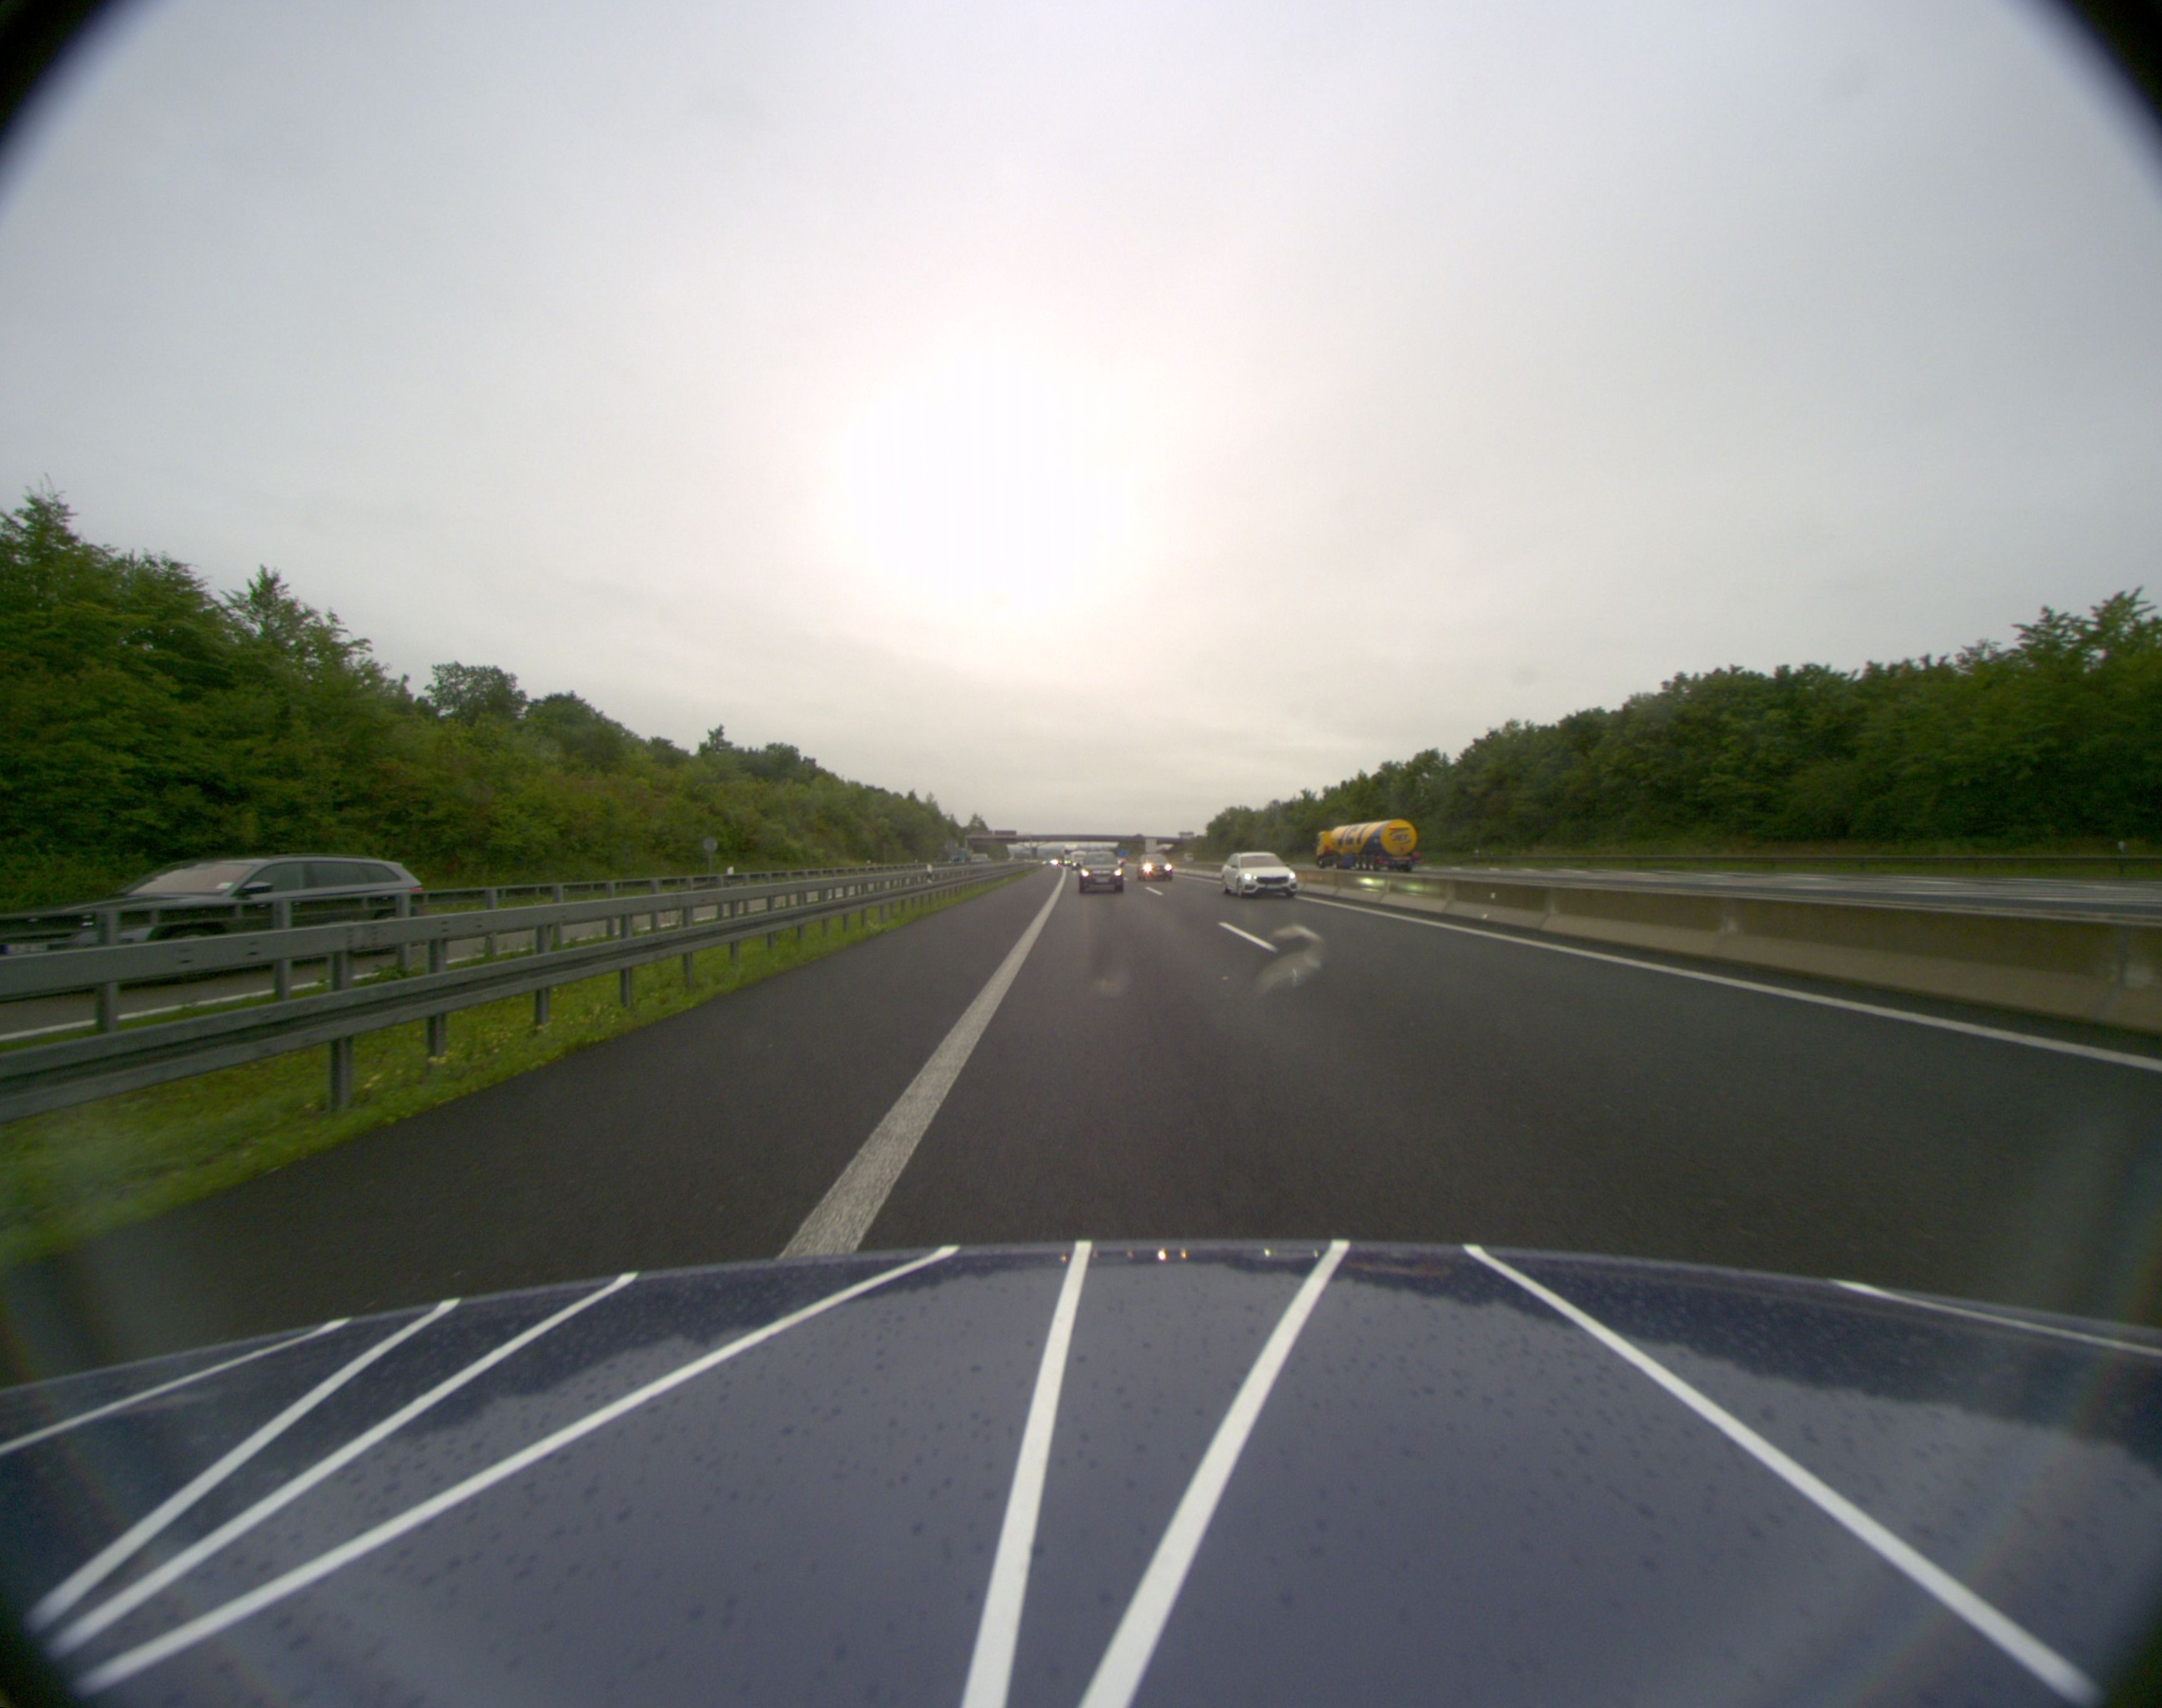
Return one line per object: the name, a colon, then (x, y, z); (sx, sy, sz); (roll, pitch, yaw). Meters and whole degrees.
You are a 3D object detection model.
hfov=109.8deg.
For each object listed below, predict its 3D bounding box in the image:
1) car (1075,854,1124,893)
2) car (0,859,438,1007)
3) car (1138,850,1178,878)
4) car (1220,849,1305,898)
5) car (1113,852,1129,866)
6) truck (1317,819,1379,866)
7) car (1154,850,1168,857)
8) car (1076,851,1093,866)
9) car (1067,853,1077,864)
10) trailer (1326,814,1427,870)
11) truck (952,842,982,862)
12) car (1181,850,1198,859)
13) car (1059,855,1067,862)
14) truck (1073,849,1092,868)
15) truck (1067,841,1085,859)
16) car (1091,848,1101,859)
car: (0.755, 0.751, 31.750); (1.905, 1.497, 4.114); (-1, 0, 1)
car: (-12.253, 0.935, 11.019); (2.013, 1.645, 4.472); (-1, 0, 0)
car: (4.404, 0.563, 43.989); (1.905, 1.497, 4.114); (-1, 0, 1)
car: (6.003, 0.604, 25.592); (1.905, 1.497, 4.114); (-1, 0, 1)
car: (5.057, 0.599, 96.001); (1.716, 1.724, 3.999); (-1, 0, -1)
truck: (20.453, -0.855, 58.482); (2.768, 3.378, 5.845); (-2, 1, 1)
car: (19.666, -0.113, 186.392); (2.187, 1.686, 4.624); (-3, 0, -10)
car: (0.437, 0.491, 86.340); (1.825, 1.669, 4.000); (-1, 0, 1)
car: (-1.527, 0.691, 127.380); (1.716, 1.724, 3.999); (-1, 0, -1)
trailer: (20.324, -0.808, 53.151); (2.768, 3.378, 11.447); (-2, 1, 1)
truck: (-20.661, -0.344, 138.745); (2.908, 3.397, 13.355); (-1, 0, 2)
car: (21.449, 0.091, 150.248); (2.187, 1.686, 4.564); (-1, 0, -8)
car: (-4.698, 1.158, 197.602); (1.917, 1.671, 4.000); (-1, 0, 1)
truck: (0.192, 0.526, 93.384); (2.175, 2.214, 5.642); (-1, 0, 0)
truck: (-1.042, -0.738, 145.543); (3.154, 3.332, 13.098); (-1, 0, -1)
car: (3.009, -0.146, 151.182); (1.998, 2.002, 4.037); (-1, 0, 1)
